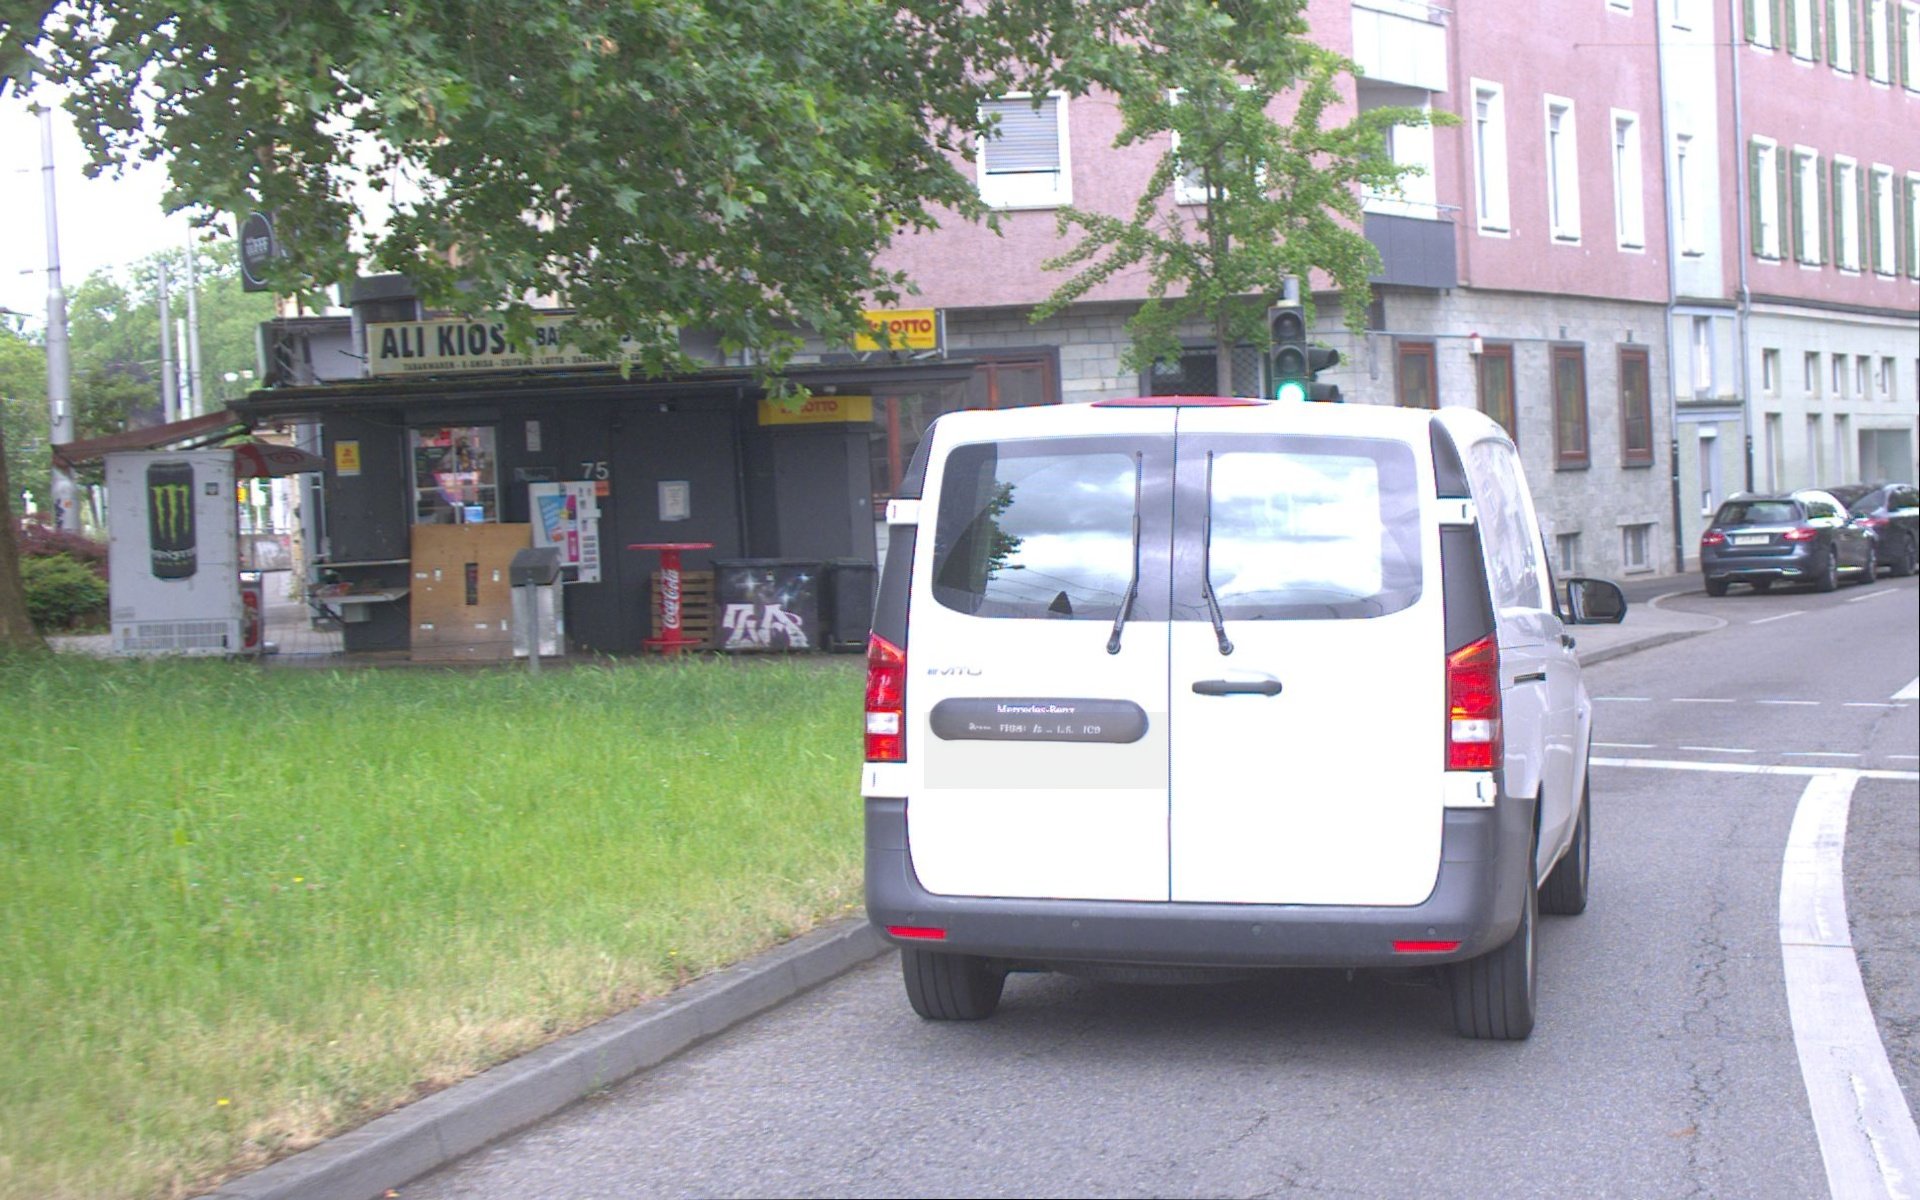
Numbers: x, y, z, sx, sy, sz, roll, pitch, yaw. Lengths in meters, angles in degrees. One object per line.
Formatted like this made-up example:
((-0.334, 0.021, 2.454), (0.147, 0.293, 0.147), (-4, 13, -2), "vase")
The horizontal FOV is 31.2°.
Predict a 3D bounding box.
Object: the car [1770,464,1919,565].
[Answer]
((14.508, -1.393, 54.316), (1.832, 1.450, 4.913), (-2, 1, 31), "car")

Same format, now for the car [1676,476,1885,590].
((11.777, -0.984, 49.164), (1.831, 1.450, 4.578), (-2, 1, 27), "car")

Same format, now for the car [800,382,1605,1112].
((1.044, 0.317, 11.428), (1.918, 1.895, 4.699), (0, 2, 13), "car")

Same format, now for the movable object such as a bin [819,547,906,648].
((-0.987, -0.029, 34.621), (0.671, 0.961, 1.080), (1, 3, -13), "movable object such as a bin")

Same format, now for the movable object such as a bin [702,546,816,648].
((-2.026, -0.035, 34.494), (0.964, 0.961, 1.113), (1, 3, -13), "movable object such as a bin")
